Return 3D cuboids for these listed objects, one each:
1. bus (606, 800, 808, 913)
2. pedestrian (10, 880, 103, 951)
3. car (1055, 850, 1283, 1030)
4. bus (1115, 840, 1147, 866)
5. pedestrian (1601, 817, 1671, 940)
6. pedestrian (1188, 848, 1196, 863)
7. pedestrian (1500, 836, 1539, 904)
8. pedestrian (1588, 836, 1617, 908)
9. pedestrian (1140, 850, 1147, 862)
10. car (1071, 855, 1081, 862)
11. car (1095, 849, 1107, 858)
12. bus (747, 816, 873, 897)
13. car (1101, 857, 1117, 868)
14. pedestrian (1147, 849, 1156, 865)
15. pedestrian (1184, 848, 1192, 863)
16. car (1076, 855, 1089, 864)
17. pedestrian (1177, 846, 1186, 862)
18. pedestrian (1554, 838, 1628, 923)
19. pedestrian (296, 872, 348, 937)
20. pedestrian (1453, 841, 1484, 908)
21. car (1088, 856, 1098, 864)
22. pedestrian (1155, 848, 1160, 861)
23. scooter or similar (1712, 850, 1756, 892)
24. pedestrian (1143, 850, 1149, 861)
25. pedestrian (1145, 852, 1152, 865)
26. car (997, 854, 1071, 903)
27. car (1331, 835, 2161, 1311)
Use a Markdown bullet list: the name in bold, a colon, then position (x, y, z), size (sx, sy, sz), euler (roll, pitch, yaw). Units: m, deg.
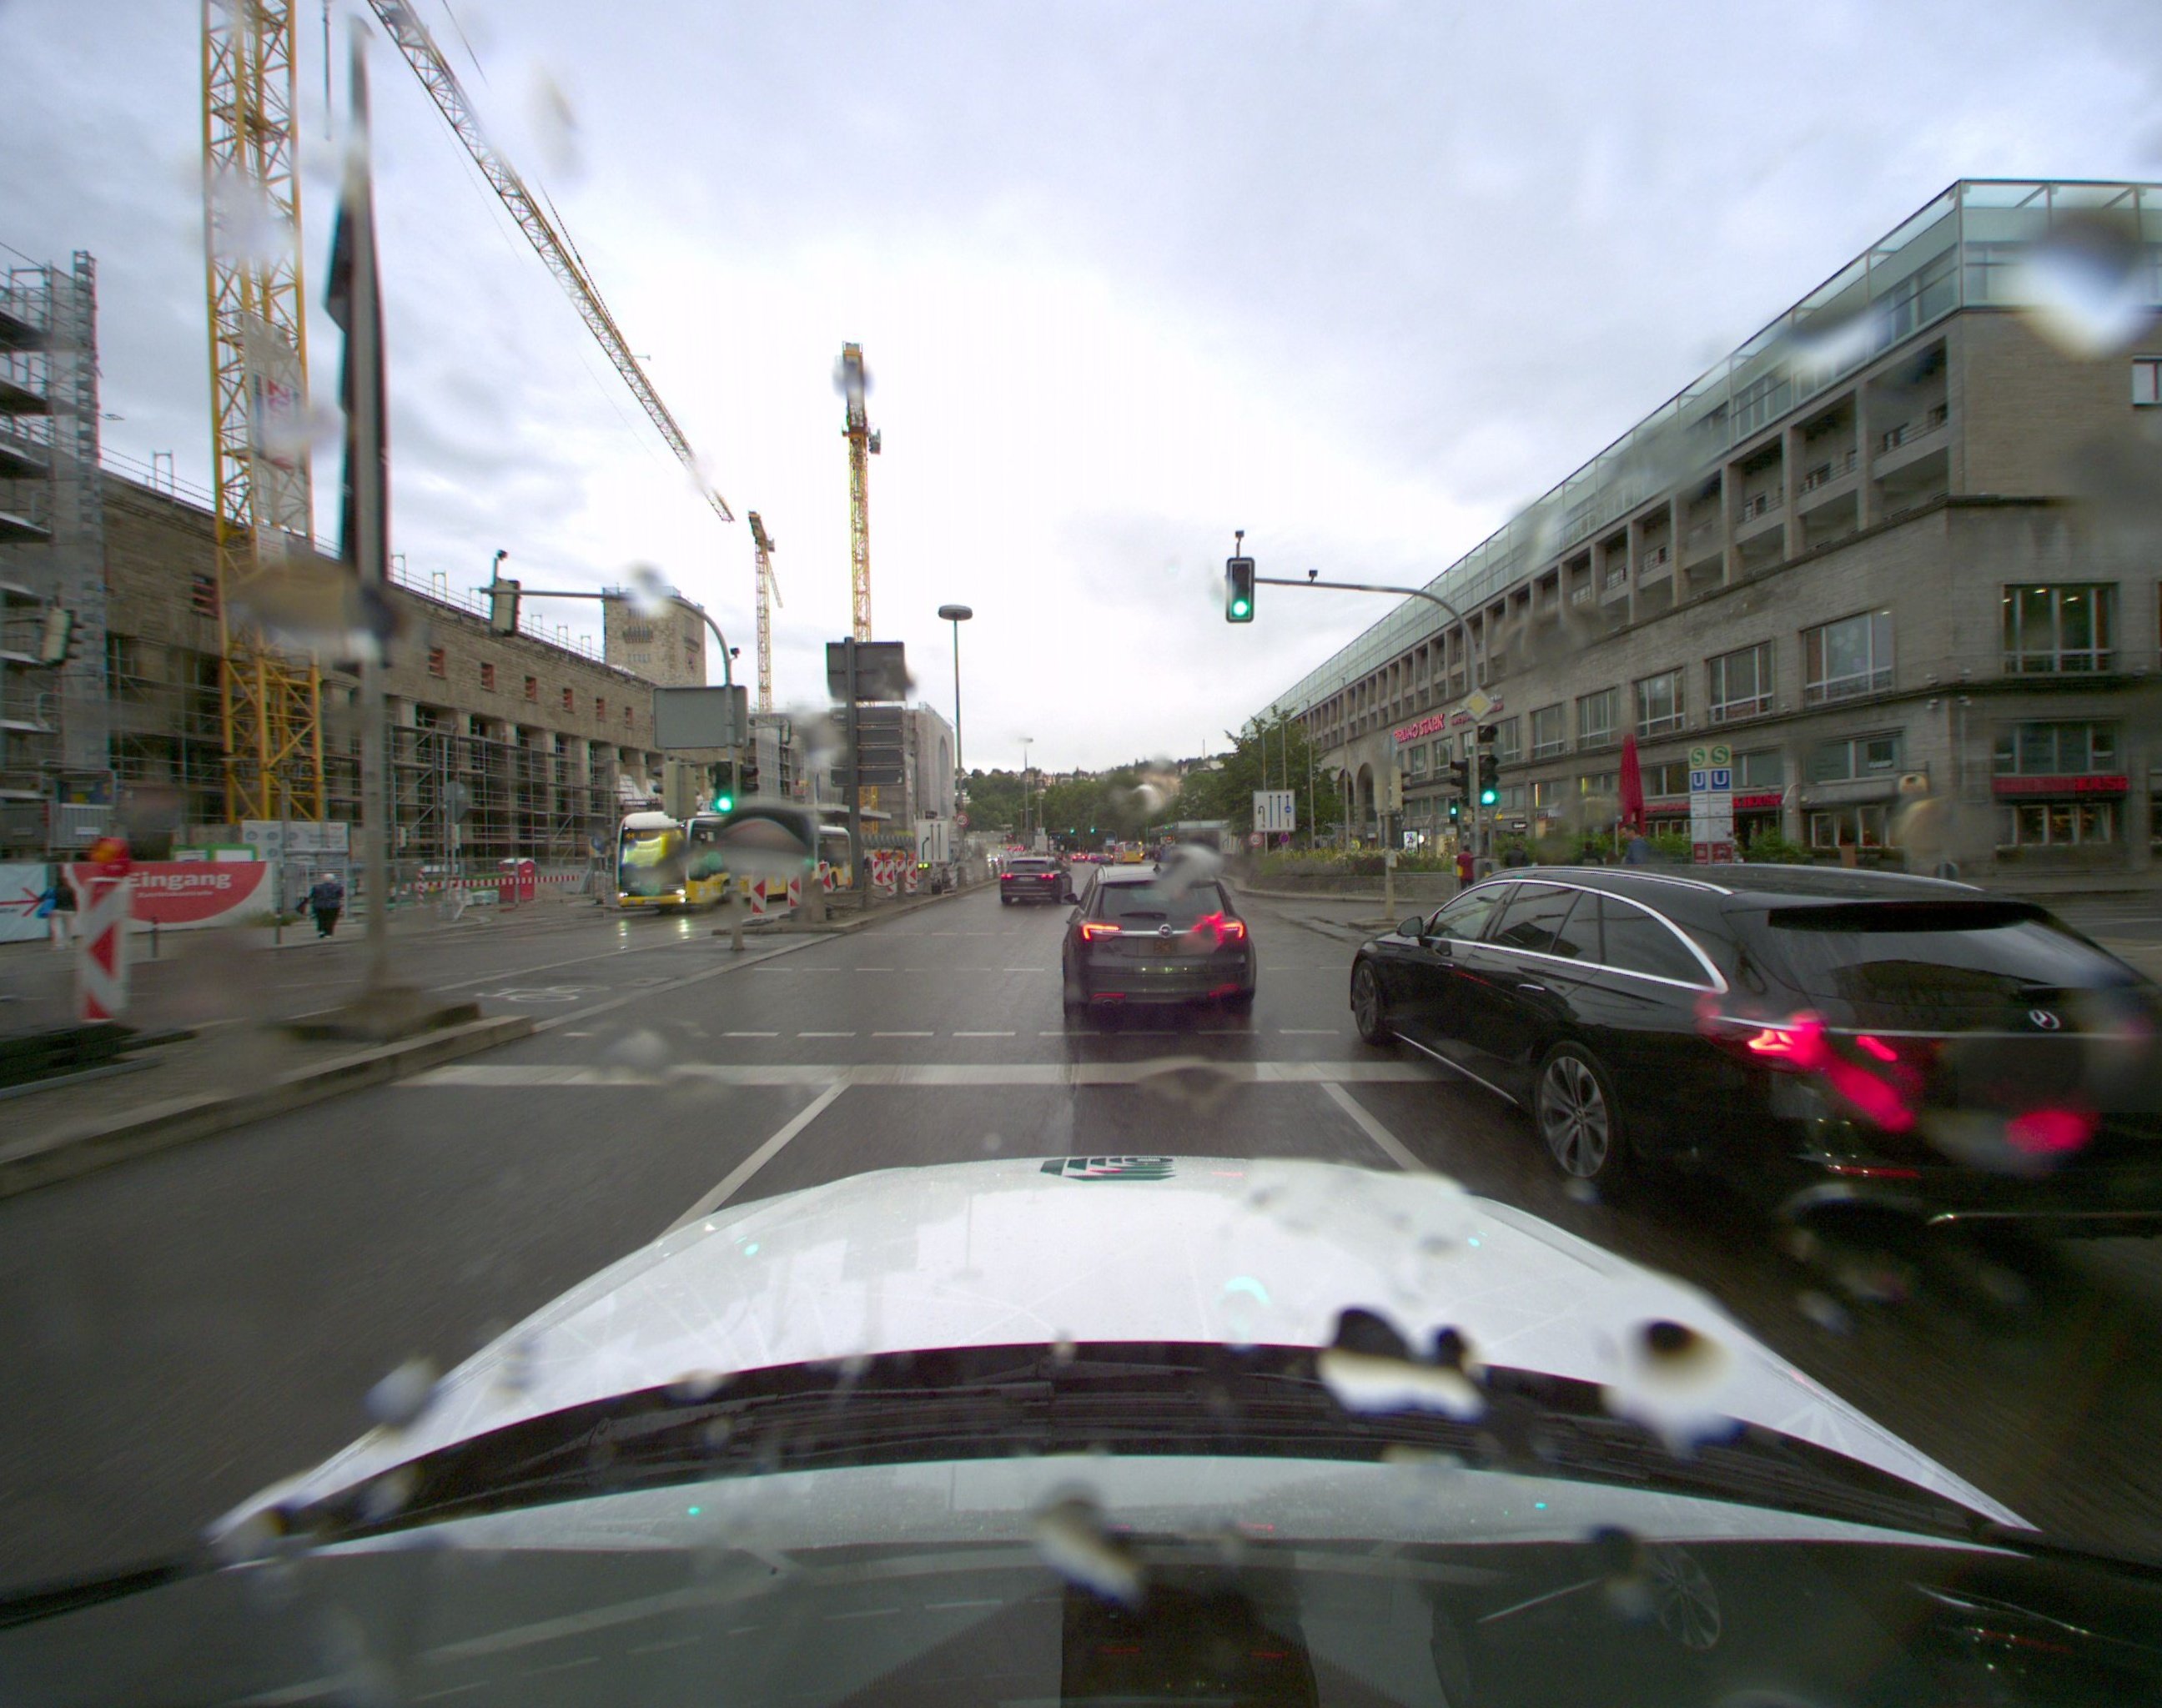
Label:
- **bus**: position (-13.654, 0.135, 31.088), size (2.658, 3.602, 10.242), euler (0, -1, 2)
- **pedestrian**: position (-23.176, 1.369, 18.448), size (0.912, 1.563, 0.899), euler (0, -1, -2)
- **car**: position (0.772, 0.733, 8.717), size (1.868, 1.486, 4.001), euler (0, -1, 1)
- **bus**: position (7.001, -0.052, 115.748), size (4.158, 3.469, 14.659), euler (0, -1, 2)
- **pedestrian**: position (8.214, 0.355, 12.057), size (0.770, 1.756, 0.507), euler (-1, -2, 45)
- **pedestrian**: position (12.170, 0.180, 89.141), size (0.761, 1.690, 0.824), euler (0, -1, -3)
- **pedestrian**: position (11.289, 0.415, 20.984), size (0.753, 1.718, 0.466), euler (0, -1, -2)
- **pedestrian**: position (12.981, 0.438, 20.294), size (0.477, 1.751, 0.670), euler (-4, -1, 30)
- **pedestrian**: position (11.208, 0.378, 146.875), size (1.194, 2.149, 1.229), euler (0, -1, 3)
- **car**: position (-0.920, 0.942, 160.116), size (1.752, 1.398, 3.565), euler (0, -1, 2)
- **car**: position (2.989, -0.048, 121.943), size (1.748, 1.398, 4.646), euler (0, -1, -1)
- **bus**: position (-13.379, 0.187, 41.422), size (2.658, 3.602, 10.215), euler (0, -1, 2)
- **car**: position (3.390, 1.038, 99.283), size (1.839, 1.398, 3.668), euler (0, -1, 2)
- **pedestrian**: position (10.653, 0.479, 122.972), size (1.194, 2.435, 1.229), euler (0, -1, 3)
- **pedestrian**: position (11.837, 0.195, 90.213), size (0.761, 1.690, 0.824), euler (0, -1, -3)
- **car**: position (0.260, 0.902, 127.586), size (1.839, 1.398, 3.565), euler (0, -1, 2)
- **pedestrian**: position (10.770, 0.046, 87.366), size (0.761, 1.690, 0.824), euler (0, -1, -3)
- **pedestrian**: position (11.031, 0.561, 17.628), size (1.093, 1.751, 0.653), euler (-3, -1, -1)
- **pedestrian**: position (-18.882, 1.234, 20.271), size (0.790, 1.561, 0.866), euler (1, -1, -34)
- **pedestrian**: position (10.429, 0.542, 21.914), size (0.563, 1.752, 0.684), euler (-1, -2, 44)
- **car**: position (2.137, 1.118, 146.539), size (1.839, 1.398, 3.565), euler (0, 0, 2)
- **pedestrian**: position (9.806, 0.035, 104.768), size (0.655, 1.690, 0.609), euler (0, -1, 2)
- **scooter or similar**: position (19.191, 0.498, 23.935), size (0.290, 1.189, 1.014), euler (0, -1, -17)
- **pedestrian**: position (12.073, 0.310, 151.642), size (1.194, 2.149, 1.229), euler (0, -1, 3)
- **pedestrian**: position (11.322, 0.806, 136.390), size (1.194, 2.149, 1.229), euler (0, -1, 3)
- **car**: position (-1.441, 0.768, 26.708), size (1.847, 1.469, 4.591), euler (0, -1, 4)
- **car**: position (3.090, 0.723, 4.905), size (1.787, 1.502, 4.628), euler (0, -1, 0)
